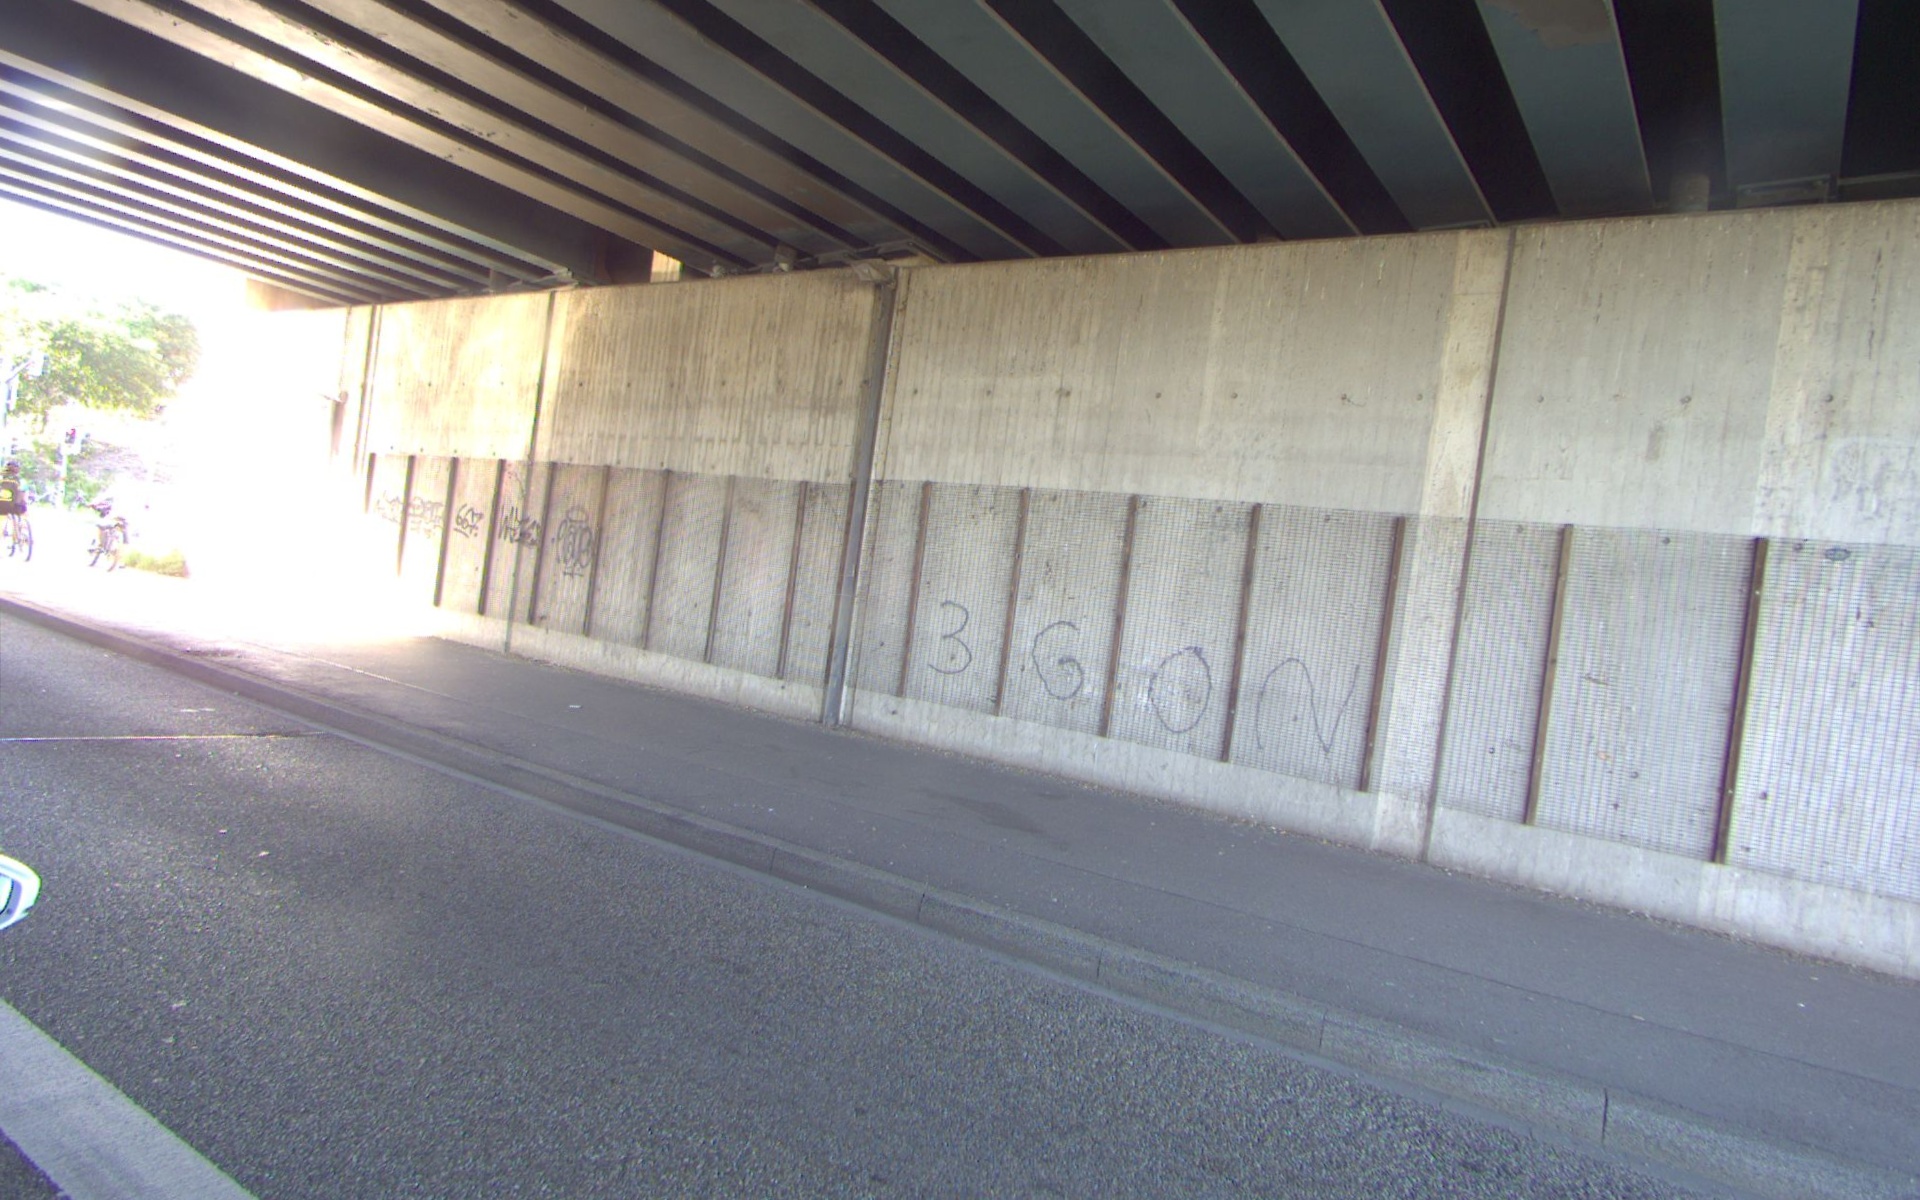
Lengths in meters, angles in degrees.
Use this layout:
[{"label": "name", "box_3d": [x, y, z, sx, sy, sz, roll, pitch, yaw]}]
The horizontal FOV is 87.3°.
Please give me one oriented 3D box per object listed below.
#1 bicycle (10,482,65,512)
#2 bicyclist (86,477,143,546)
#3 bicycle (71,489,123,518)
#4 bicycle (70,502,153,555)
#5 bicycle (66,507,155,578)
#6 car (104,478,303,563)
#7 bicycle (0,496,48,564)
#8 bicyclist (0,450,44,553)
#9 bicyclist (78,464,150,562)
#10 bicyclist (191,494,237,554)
[{"label": "bicycle", "box_3d": [-42.886, -4.782, 46.778, 0.585, 1.035, 1.744, 6, -2, 40]}, {"label": "bicyclist", "box_3d": [-20.159, -2.093, 24.005, 0.657, 1.491, 0.748, 7, -1, -18]}, {"label": "bicycle", "box_3d": [-41.075, -4.578, 47.894, 0.586, 1.035, 1.743, 6, -2, 43]}, {"label": "bicycle", "box_3d": [-20.221, -1.686, 24.035, 0.664, 1.035, 2.049, 8, -2, -17]}, {"label": "bicycle", "box_3d": [-14.727, -1.005, 17.427, 1.721, 1.035, 0.593, 6, -1, 32]}, {"label": "car", "box_3d": [-24.093, -2.469, 32.264, 1.852, 1.907, 4.652, 7, -1, 23]}, {"label": "bicycle", "box_3d": [-16.206, -1.217, 17.027, 1.721, 1.035, 0.593, 6, -1, 32]}, {"label": "bicyclist", "box_3d": [-16.153, -1.669, 17.017, 0.927, 1.632, 0.593, 6, -1, 32]}, {"label": "bicyclist", "box_3d": [-14.652, -1.500, 17.428, 0.756, 1.566, 0.593, 6, -1, 32]}, {"label": "bicyclist", "box_3d": [-20.537, -2.094, 27.704, 0.607, 1.499, 0.651, 8, 0, 26]}]
